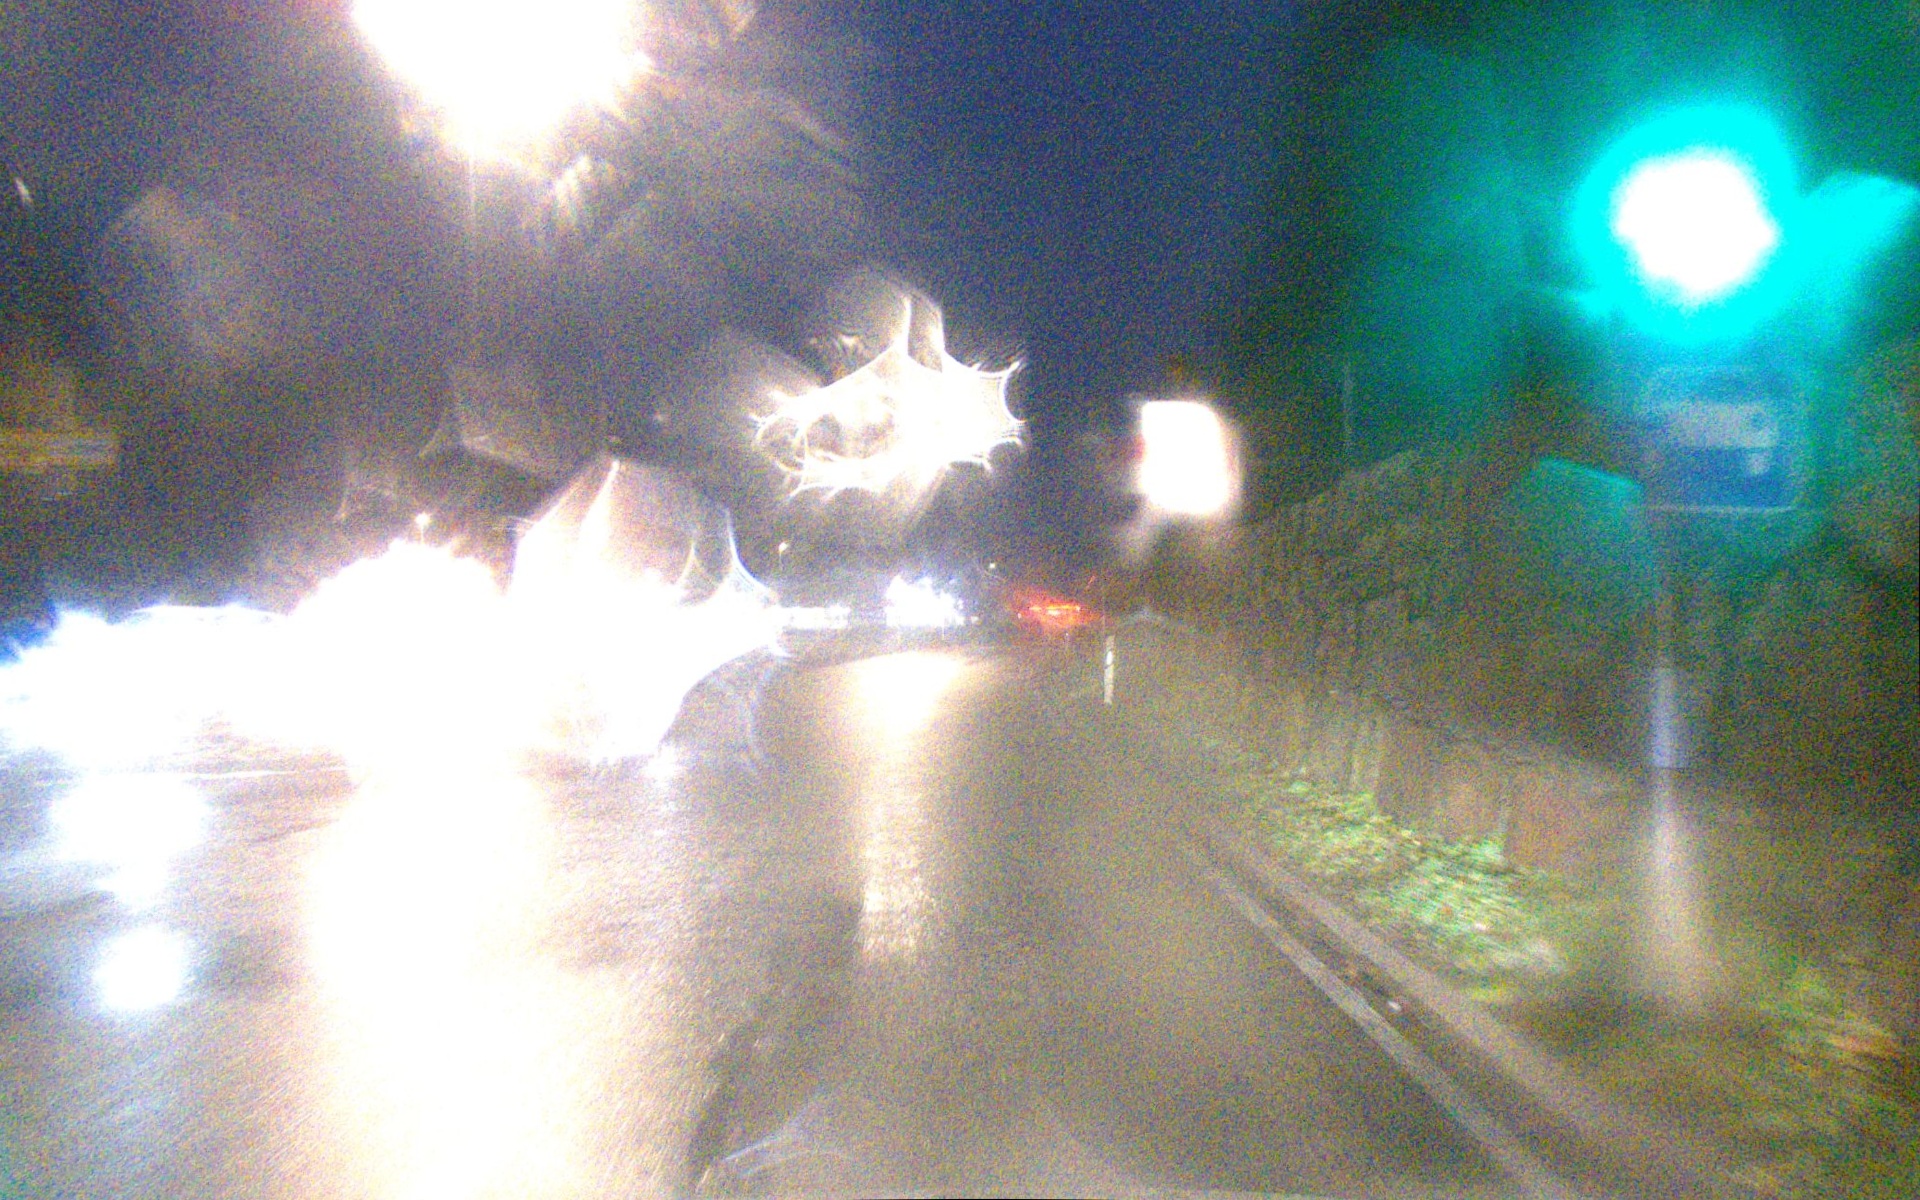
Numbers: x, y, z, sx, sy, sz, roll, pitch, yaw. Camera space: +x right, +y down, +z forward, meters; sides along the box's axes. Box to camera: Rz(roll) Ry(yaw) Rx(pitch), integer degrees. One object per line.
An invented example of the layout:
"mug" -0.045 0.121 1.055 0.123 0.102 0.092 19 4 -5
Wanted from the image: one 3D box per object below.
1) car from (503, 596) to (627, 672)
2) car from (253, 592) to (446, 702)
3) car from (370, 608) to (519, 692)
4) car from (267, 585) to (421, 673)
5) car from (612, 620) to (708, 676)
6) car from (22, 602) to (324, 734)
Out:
"car" -9.457 0.838 39.920 1.681 1.733 4.145 0 -2 4
"car" -10.226 0.806 28.023 1.646 1.721 3.949 0 -2 2
"car" -10.035 0.983 32.471 1.552 1.552 3.653 0 -2 4
"car" -13.044 0.653 35.278 1.954 1.751 3.997 0 -2 -3
"car" -8.741 1.406 48.546 1.672 1.561 4.602 0 -2 4
"car" -10.526 0.870 22.563 1.663 1.599 4.713 0 -1 3
